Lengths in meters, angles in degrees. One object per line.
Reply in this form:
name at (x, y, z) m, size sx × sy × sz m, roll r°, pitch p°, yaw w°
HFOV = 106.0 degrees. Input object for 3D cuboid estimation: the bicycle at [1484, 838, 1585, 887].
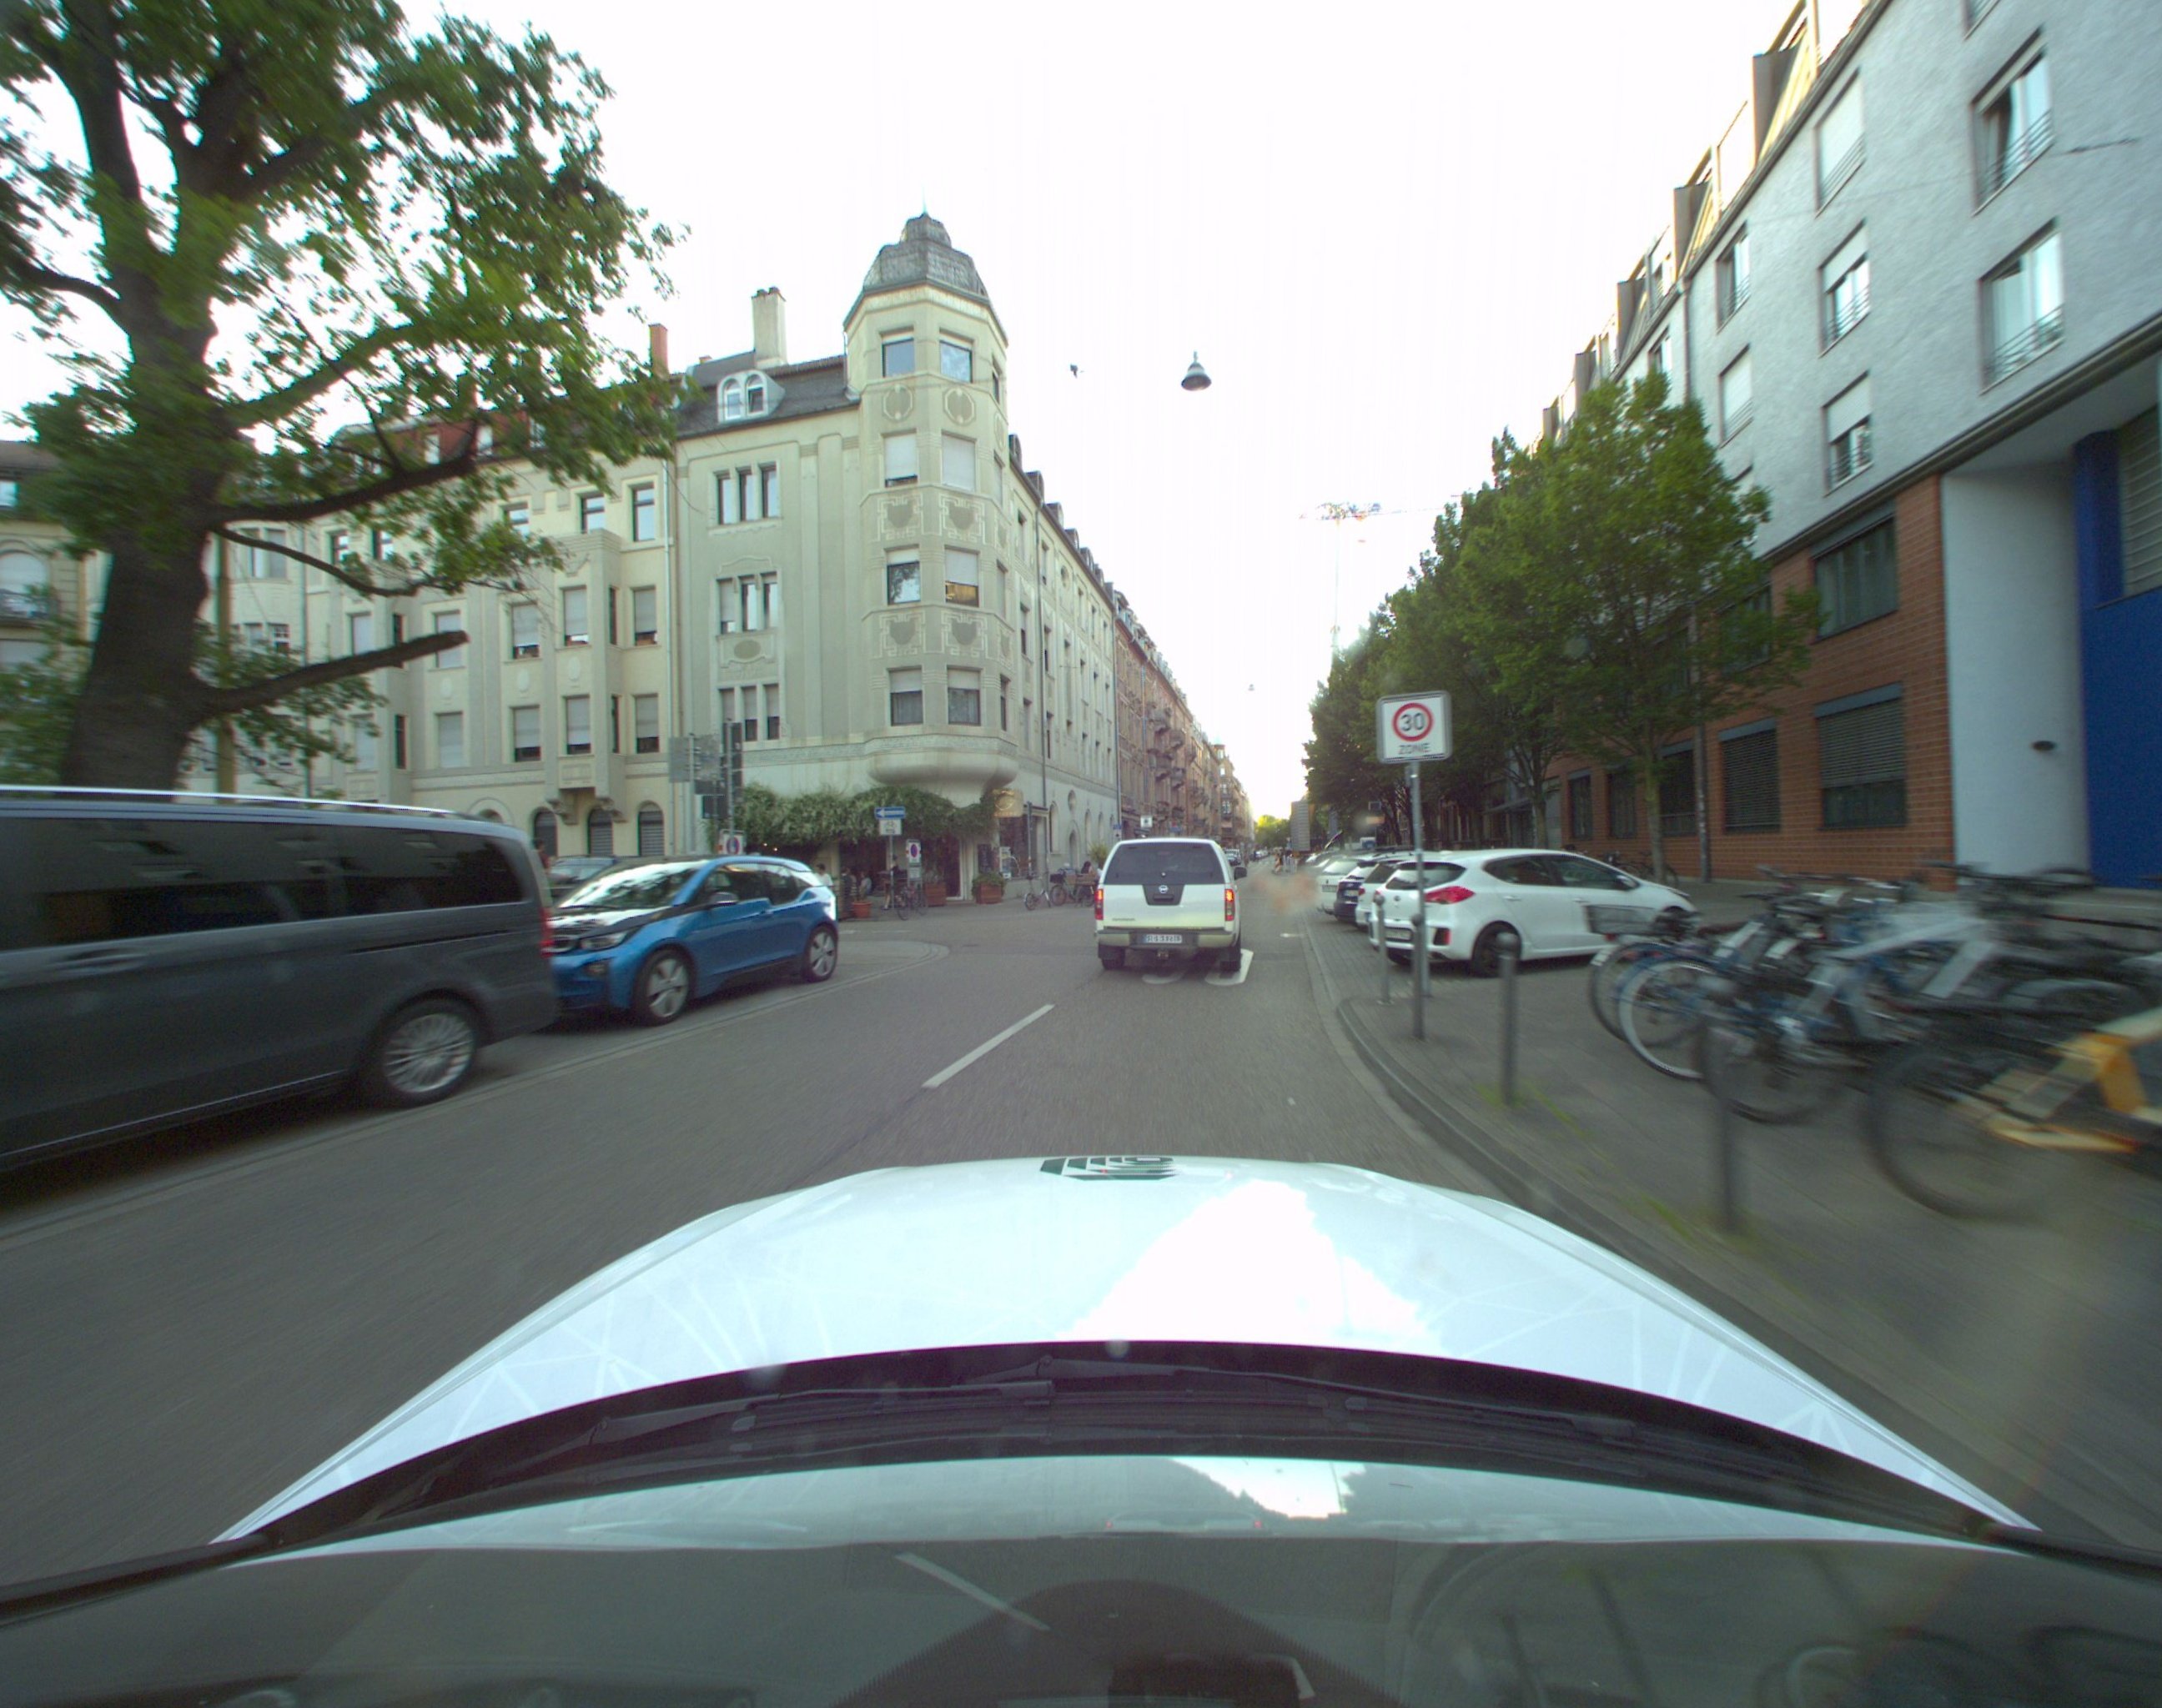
bicycle at (13.423, 0.255, 24.173) m, size 2.515 × 1.379 × 0.602 m, roll -2°, pitch -1°, yaw 16°

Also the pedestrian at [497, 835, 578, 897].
pedestrian at (-9.005, 0.196, 13.521) m, size 0.701 × 0.980 × 0.840 m, roll -2°, pitch 0°, yaw 12°

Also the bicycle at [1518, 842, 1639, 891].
bicycle at (12.572, 0.321, 20.645) m, size 2.515 × 1.166 × 0.564 m, roll -2°, pitch 0°, yaw 16°

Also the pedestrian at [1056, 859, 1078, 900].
pedestrian at (-0.451, 0.836, 26.768) m, size 0.533 × 1.324 × 0.707 m, roll -1°, pitch 0°, yaw 14°

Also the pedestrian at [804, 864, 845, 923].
pedestrian at (-6.947, 1.063, 22.068) m, size 0.697 × 1.540 × 0.786 m, roll -2°, pitch 0°, yaw 12°

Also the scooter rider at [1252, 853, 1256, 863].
scooter rider at (25.854, 0.621, 121.558) m, size 0.479 × 1.423 × 0.297 m, roll -2°, pitch -1°, yaw 36°

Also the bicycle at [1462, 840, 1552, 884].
bicycle at (14.087, 0.262, 26.986) m, size 2.515 × 1.379 × 0.602 m, roll -2°, pitch -1°, yaw 16°

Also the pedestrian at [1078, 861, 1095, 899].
pedestrian at (0.209, 0.939, 29.288) m, size 0.465 × 1.350 × 0.613 m, roll -1°, pitch 0°, yaw 12°

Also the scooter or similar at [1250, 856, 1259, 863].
scooter or similar at (25.837, 0.843, 121.570) m, size 1.244 × 1.028 × 0.313 m, roll -2°, pitch 0°, yaw 36°

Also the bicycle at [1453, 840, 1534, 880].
bicycle at (14.996, 0.214, 29.665) m, size 2.515 × 1.379 × 0.602 m, roll -2°, pitch -1°, yaw 16°

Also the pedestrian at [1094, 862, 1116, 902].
pedestrian at (0.832, 0.953, 28.061) m, size 0.605 × 1.324 × 0.773 m, roll -1°, pitch 0°, yaw 12°

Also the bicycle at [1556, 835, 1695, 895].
bicycle at (11.738, 0.242, 17.643) m, size 2.328 × 1.099 × 0.683 m, roll -5°, pitch -1°, yaw 16°

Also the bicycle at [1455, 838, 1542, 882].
bicycle at (14.502, 0.216, 28.362) m, size 2.515 × 1.244 × 0.602 m, roll -7°, pitch -2°, yaw 16°

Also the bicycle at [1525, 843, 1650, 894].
bicycle at (12.408, 0.350, 20.031) m, size 2.515 × 1.166 × 0.564 m, roll -2°, pitch 0°, yaw 16°

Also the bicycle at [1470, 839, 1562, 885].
bicycle at (13.995, 0.259, 26.264) m, size 2.515 × 1.379 × 0.602 m, roll -2°, pitch -1°, yaw 16°

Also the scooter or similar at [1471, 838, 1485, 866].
scooter or similar at (18.494, -0.113, 37.942) m, size 0.408 × 1.218 × 1.786 m, roll -8°, pitch -2°, yaw 25°

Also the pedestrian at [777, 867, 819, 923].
pedestrian at (-7.700, 1.111, 22.174) m, size 0.697 × 1.469 × 0.786 m, roll -2°, pitch 0°, yaw 12°

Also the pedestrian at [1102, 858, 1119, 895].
pedestrian at (1.112, 0.843, 30.335) m, size 0.513 × 1.350 × 0.542 m, roll -1°, pitch 0°, yaw 11°

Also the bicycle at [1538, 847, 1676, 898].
bicycle at (12.085, 0.428, 18.806) m, size 2.515 × 0.959 × 0.683 m, roll -5°, pitch -1°, yaw 16°

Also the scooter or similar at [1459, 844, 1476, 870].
scooter or similar at (19.371, 0.150, 40.805) m, size 0.365 × 1.218 × 1.630 m, roll -6°, pitch -2°, yaw 37°

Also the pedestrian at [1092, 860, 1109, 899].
pedestrian at (0.707, 0.900, 29.129) m, size 0.465 × 1.350 × 0.613 m, roll -1°, pitch 0°, yaw 12°

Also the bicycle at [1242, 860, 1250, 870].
bicycle at (17.292, 1.161, 85.438) m, size 0.795 × 0.947 × 2.011 m, roll -1°, pitch 0°, yaw 12°

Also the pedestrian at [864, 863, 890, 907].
pedestrian at (-6.995, 1.062, 27.915) m, size 0.567 × 1.443 × 0.647 m, roll -2°, pitch -1°, yaw 14°

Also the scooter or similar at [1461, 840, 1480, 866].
scooter or similar at (18.934, -0.045, 39.576) m, size 0.365 × 1.218 × 1.715 m, roll -6°, pitch -2°, yaw 37°

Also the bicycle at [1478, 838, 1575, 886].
bicycle at (13.569, 0.254, 24.875) m, size 2.515 × 1.379 × 0.602 m, roll -2°, pitch -1°, yaw 16°

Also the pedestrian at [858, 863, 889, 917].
pedestrian at (-5.870, 1.014, 23.106) m, size 0.568 × 1.469 × 0.647 m, roll -2°, pitch 0°, yaw 12°

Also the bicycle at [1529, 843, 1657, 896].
bicycle at (12.179, 0.374, 19.450) m, size 2.515 × 1.166 × 0.564 m, roll -2°, pitch 0°, yaw 16°

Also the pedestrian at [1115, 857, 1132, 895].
pedestrian at (1.553, 0.779, 29.390) m, size 0.480 × 1.350 × 0.671 m, roll -1°, pitch 0°, yaw 12°

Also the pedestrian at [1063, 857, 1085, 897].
pedestrian at (-0.229, 0.782, 27.512) m, size 0.533 × 1.324 × 0.707 m, roll -1°, pitch 0°, yaw 14°

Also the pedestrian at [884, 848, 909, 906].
pedestrian at (-5.468, 0.685, 24.121) m, size 0.616 × 1.675 × 0.565 m, roll -1°, pitch 0°, yaw -18°

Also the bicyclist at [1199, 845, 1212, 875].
bicyclist at (7.212, 0.335, 47.090) m, size 0.598 × 1.685 × 1.147 m, roll -2°, pitch 0°, yaw 14°

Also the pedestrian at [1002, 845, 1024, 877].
pedestrian at (-2.496, 0.270, 29.973) m, size 0.553 × 1.154 × 0.750 m, roll -1°, pitch 0°, yaw 13°

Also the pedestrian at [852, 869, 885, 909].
pedestrian at (-6.736, 1.117, 25.816) m, size 0.685 × 1.214 × 0.782 m, roll -2°, pitch 0°, yaw 14°

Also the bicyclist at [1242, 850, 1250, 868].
bicyclist at (17.256, 0.488, 85.352) m, size 0.795 × 1.849 × 0.947 m, roll -1°, pitch 0°, yaw 11°

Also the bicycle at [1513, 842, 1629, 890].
bicycle at (12.732, 0.314, 21.237) m, size 2.515 × 1.166 × 0.564 m, roll -2°, pitch 0°, yaw 16°

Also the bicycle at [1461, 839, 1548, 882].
bicycle at (14.335, 0.216, 27.625) m, size 2.515 × 1.379 × 0.602 m, roll -2°, pitch -1°, yaw 16°

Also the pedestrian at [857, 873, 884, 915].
pedestrian at (-6.366, 1.212, 24.688) m, size 0.526 × 1.214 × 0.608 m, roll -2°, pitch 0°, yaw 14°

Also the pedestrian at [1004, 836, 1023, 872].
pedestrian at (-2.564, 0.007, 30.874) m, size 0.534 × 1.350 × 0.520 m, roll -1°, pitch 0°, yaw 14°

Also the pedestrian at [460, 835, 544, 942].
pedestrian at (-9.697, 0.569, 13.666) m, size 0.701 × 1.721 × 0.840 m, roll -2°, pitch 0°, yaw 12°
